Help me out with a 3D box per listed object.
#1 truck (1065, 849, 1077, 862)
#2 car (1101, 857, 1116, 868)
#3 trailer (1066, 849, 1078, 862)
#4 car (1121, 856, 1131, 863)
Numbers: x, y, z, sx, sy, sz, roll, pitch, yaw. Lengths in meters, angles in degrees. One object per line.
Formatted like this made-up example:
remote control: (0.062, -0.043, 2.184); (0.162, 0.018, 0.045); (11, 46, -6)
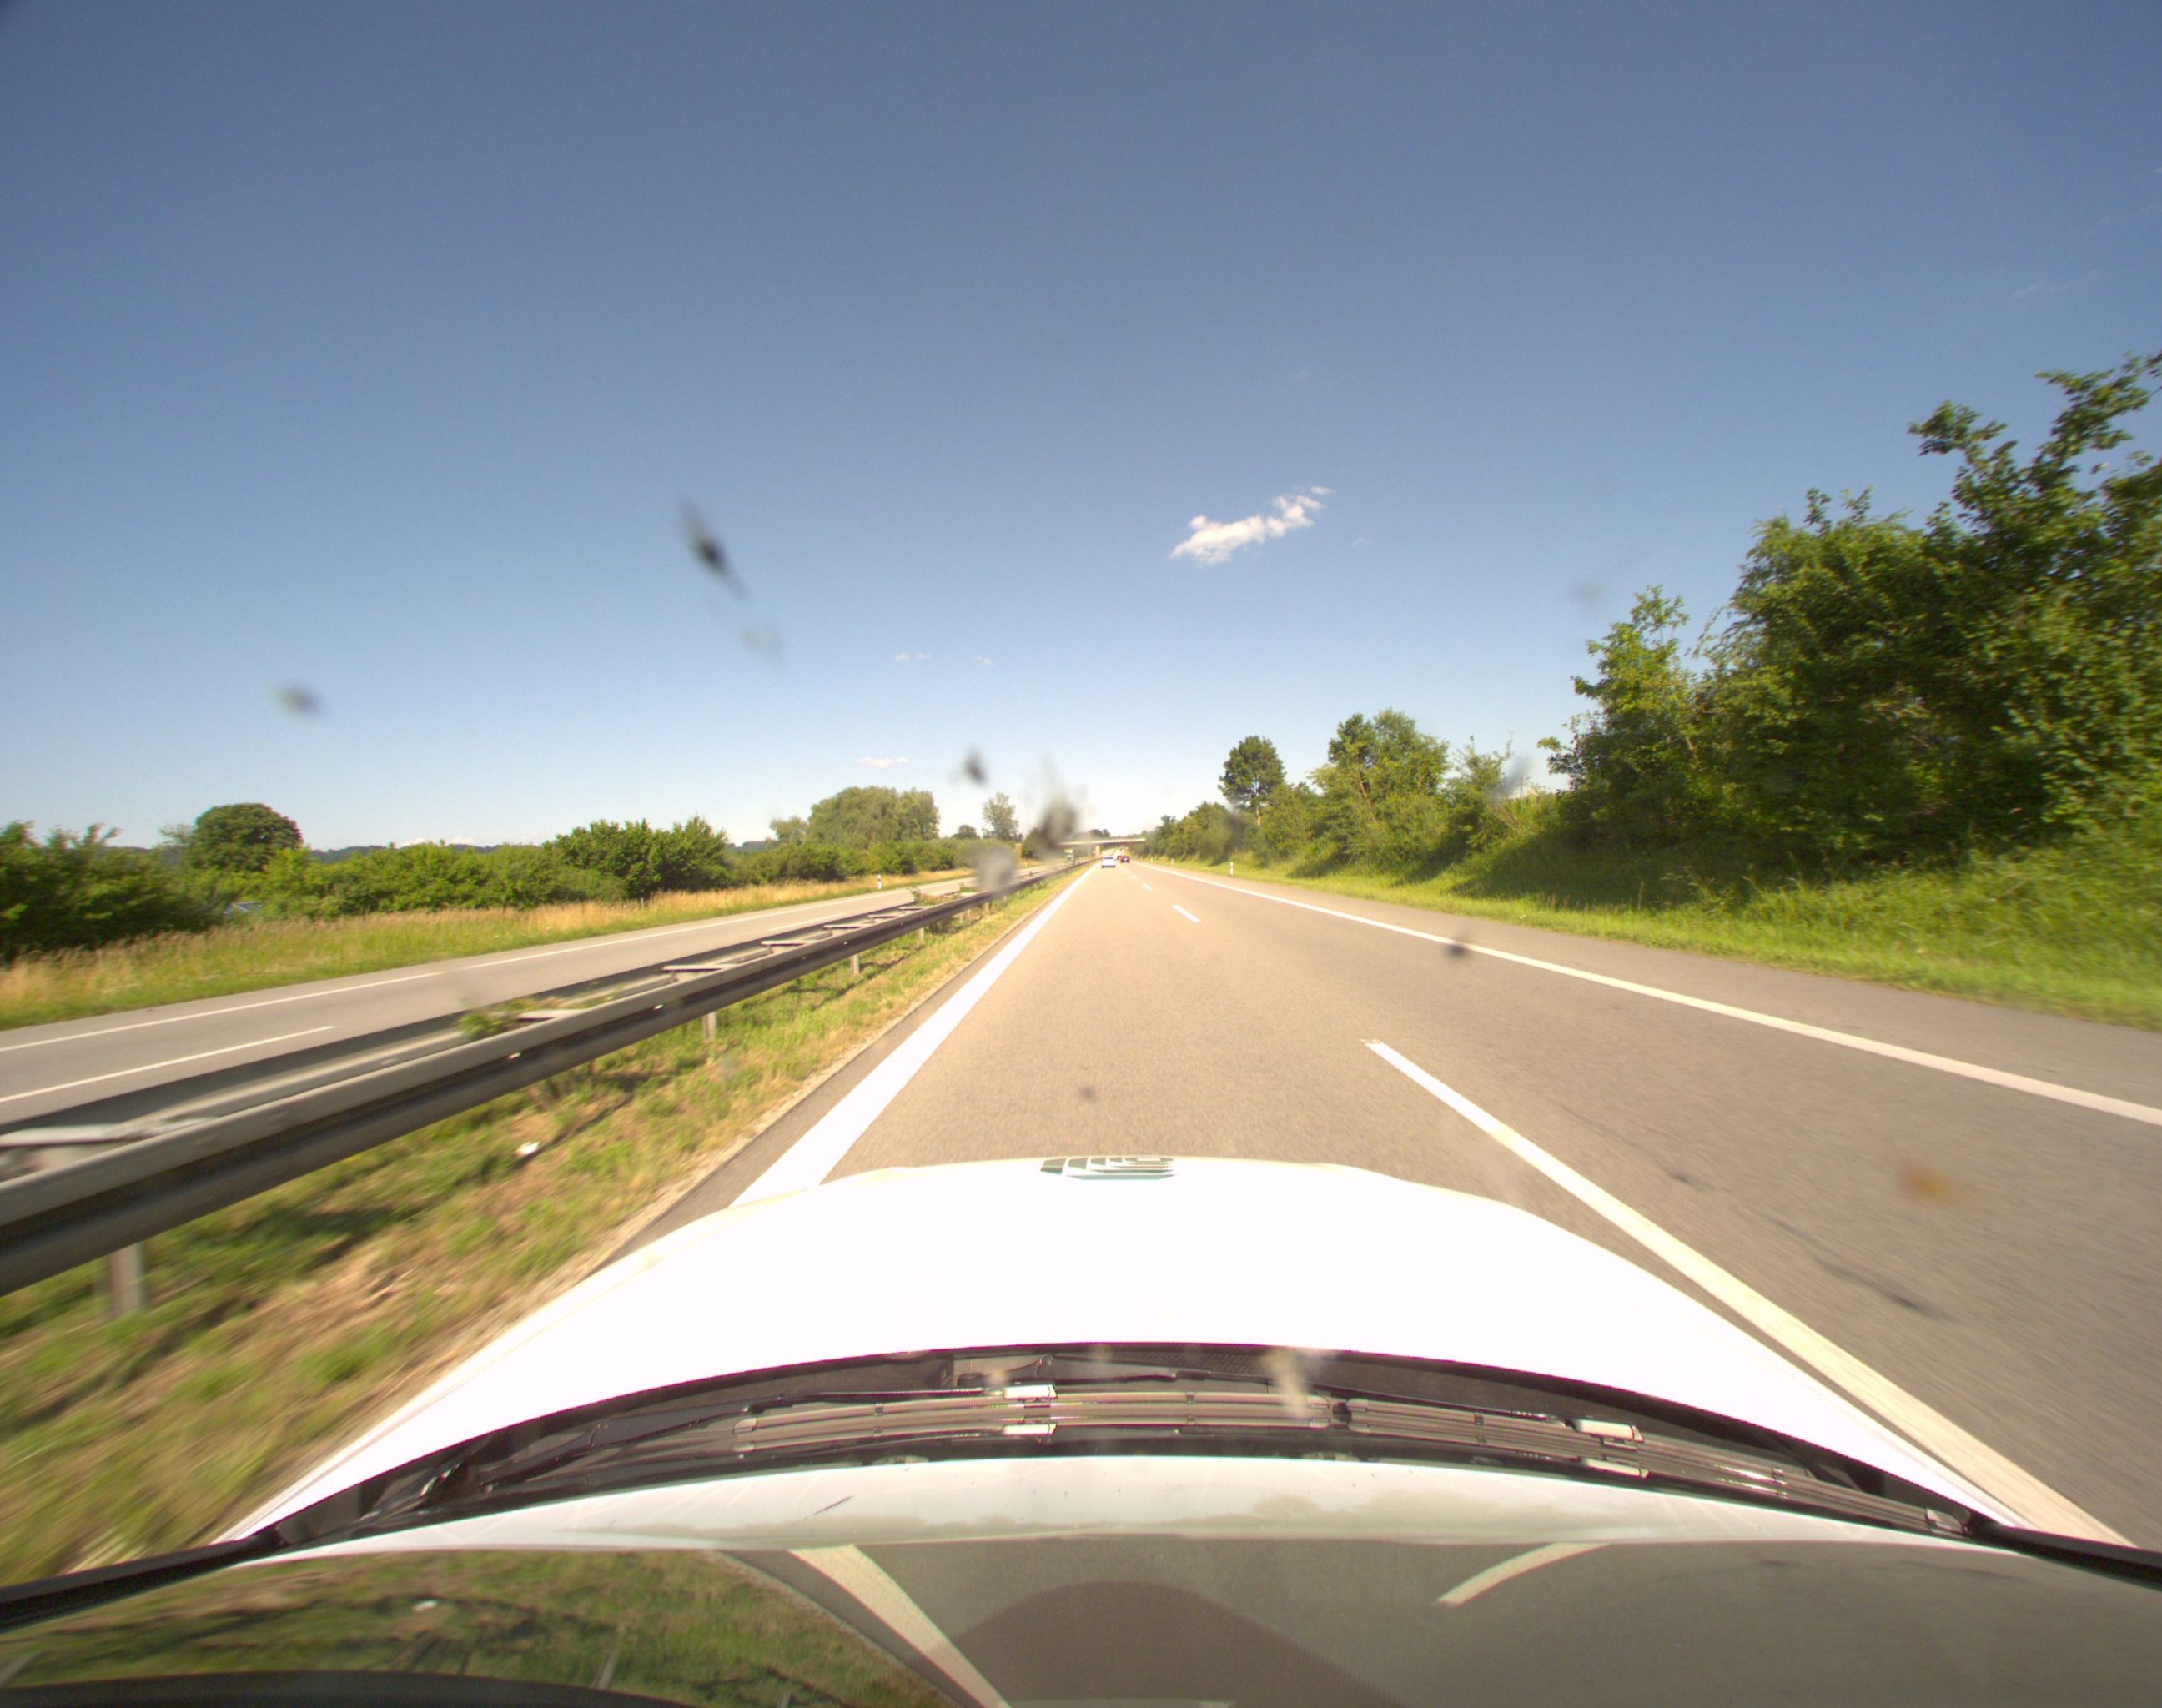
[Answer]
truck: (-2.912, 0.569, 241.706); (2.944, 3.731, 5.570); (-3, -1, 1)
car: (3.455, 1.095, 103.231); (1.836, 1.415, 4.002); (0, 0, 2)
trailer: (-2.742, 0.580, 248.828); (2.969, 3.731, 12.424); (-3, 0, 2)
car: (8.941, 1.084, 162.328); (1.836, 1.520, 4.002); (0, 0, 2)
